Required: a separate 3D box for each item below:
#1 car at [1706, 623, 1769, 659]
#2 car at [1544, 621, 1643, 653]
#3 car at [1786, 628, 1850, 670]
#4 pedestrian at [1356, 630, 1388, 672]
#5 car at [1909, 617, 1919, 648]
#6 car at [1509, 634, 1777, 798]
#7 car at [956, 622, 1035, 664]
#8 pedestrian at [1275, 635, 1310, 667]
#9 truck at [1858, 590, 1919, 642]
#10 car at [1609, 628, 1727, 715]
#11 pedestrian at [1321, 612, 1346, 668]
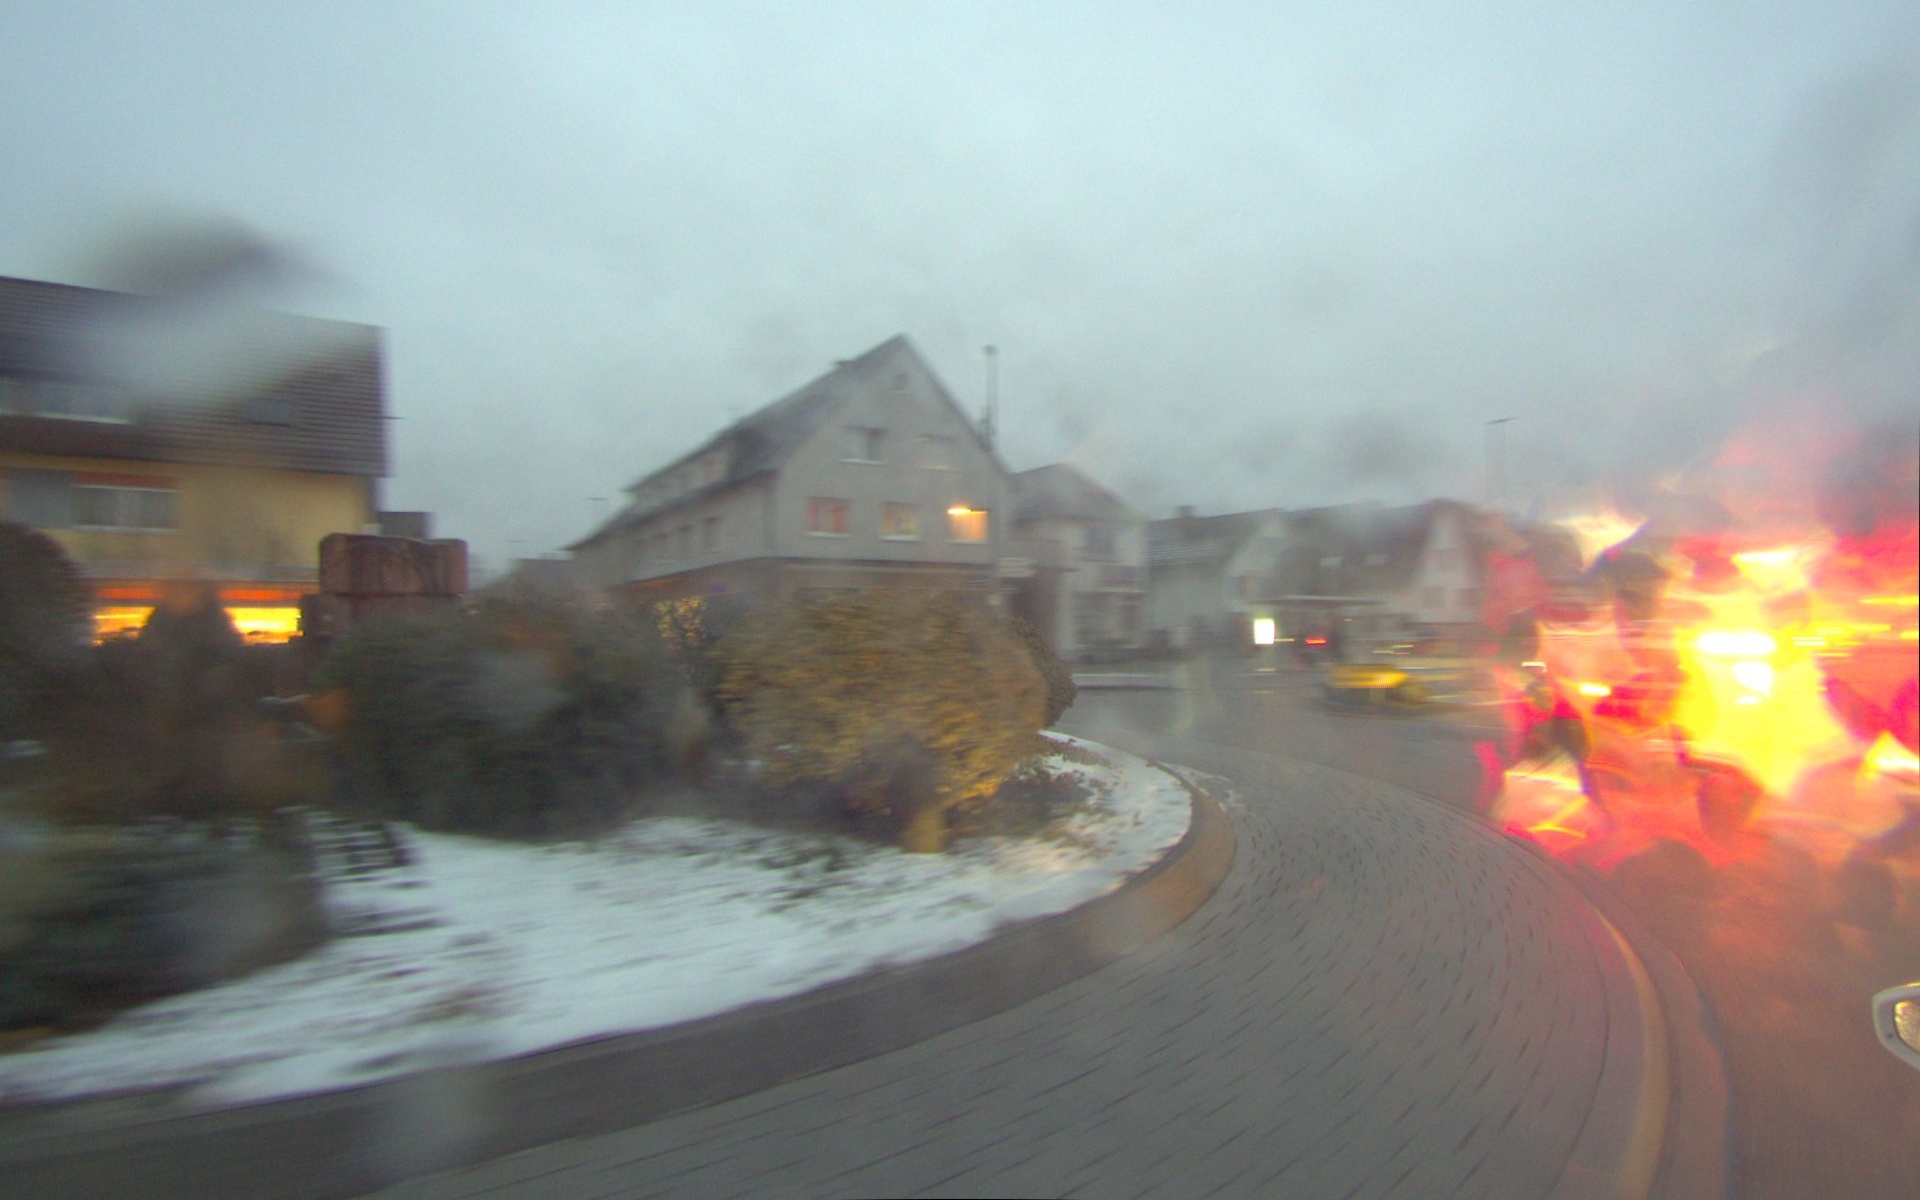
[{"bbox_3d":[36.327,1.871,46.914,4.032,1.589,1.724,1,-1,-43],"label":"car"},{"bbox_3d":[33.987,1.955,53.946,4.262,1.661,1.835,-2,-1,44],"label":"car"},{"bbox_3d":[36.370,2.043,42.556,3.973,1.653,1.705,0,-1,-45],"label":"car"},{"bbox_3d":[13.813,1.709,33.658,0.711,1.366,0.776,1,-1,-42],"label":"pedestrian"},{"bbox_3d":[48.662,1.608,50.092,3.691,1.486,1.675,0,-1,-42],"label":"car"},{"bbox_3d":[7.255,1.116,11.102,1.682,1.440,4.011,0,-2,23],"label":"car"},{"bbox_3d":[1.549,1.904,45.361,1.788,1.821,3.969,0,-1,-30],"label":"car"},{"bbox_3d":[11.003,1.676,33.261,0.852,1.024,0.806,-1,-1,44],"label":"pedestrian"},{"bbox_3d":[58.405,1.002,62.849,5.947,3.050,2.690,0,-1,-42],"label":"truck"},{"bbox_3d":[15.227,1.451,21.608,1.891,1.636,3.936,-2,-1,36],"label":"car"},{"bbox_3d":[12.350,1.308,33.224,0.717,1.842,0.530,-1,-1,25],"label":"pedestrian"}]
